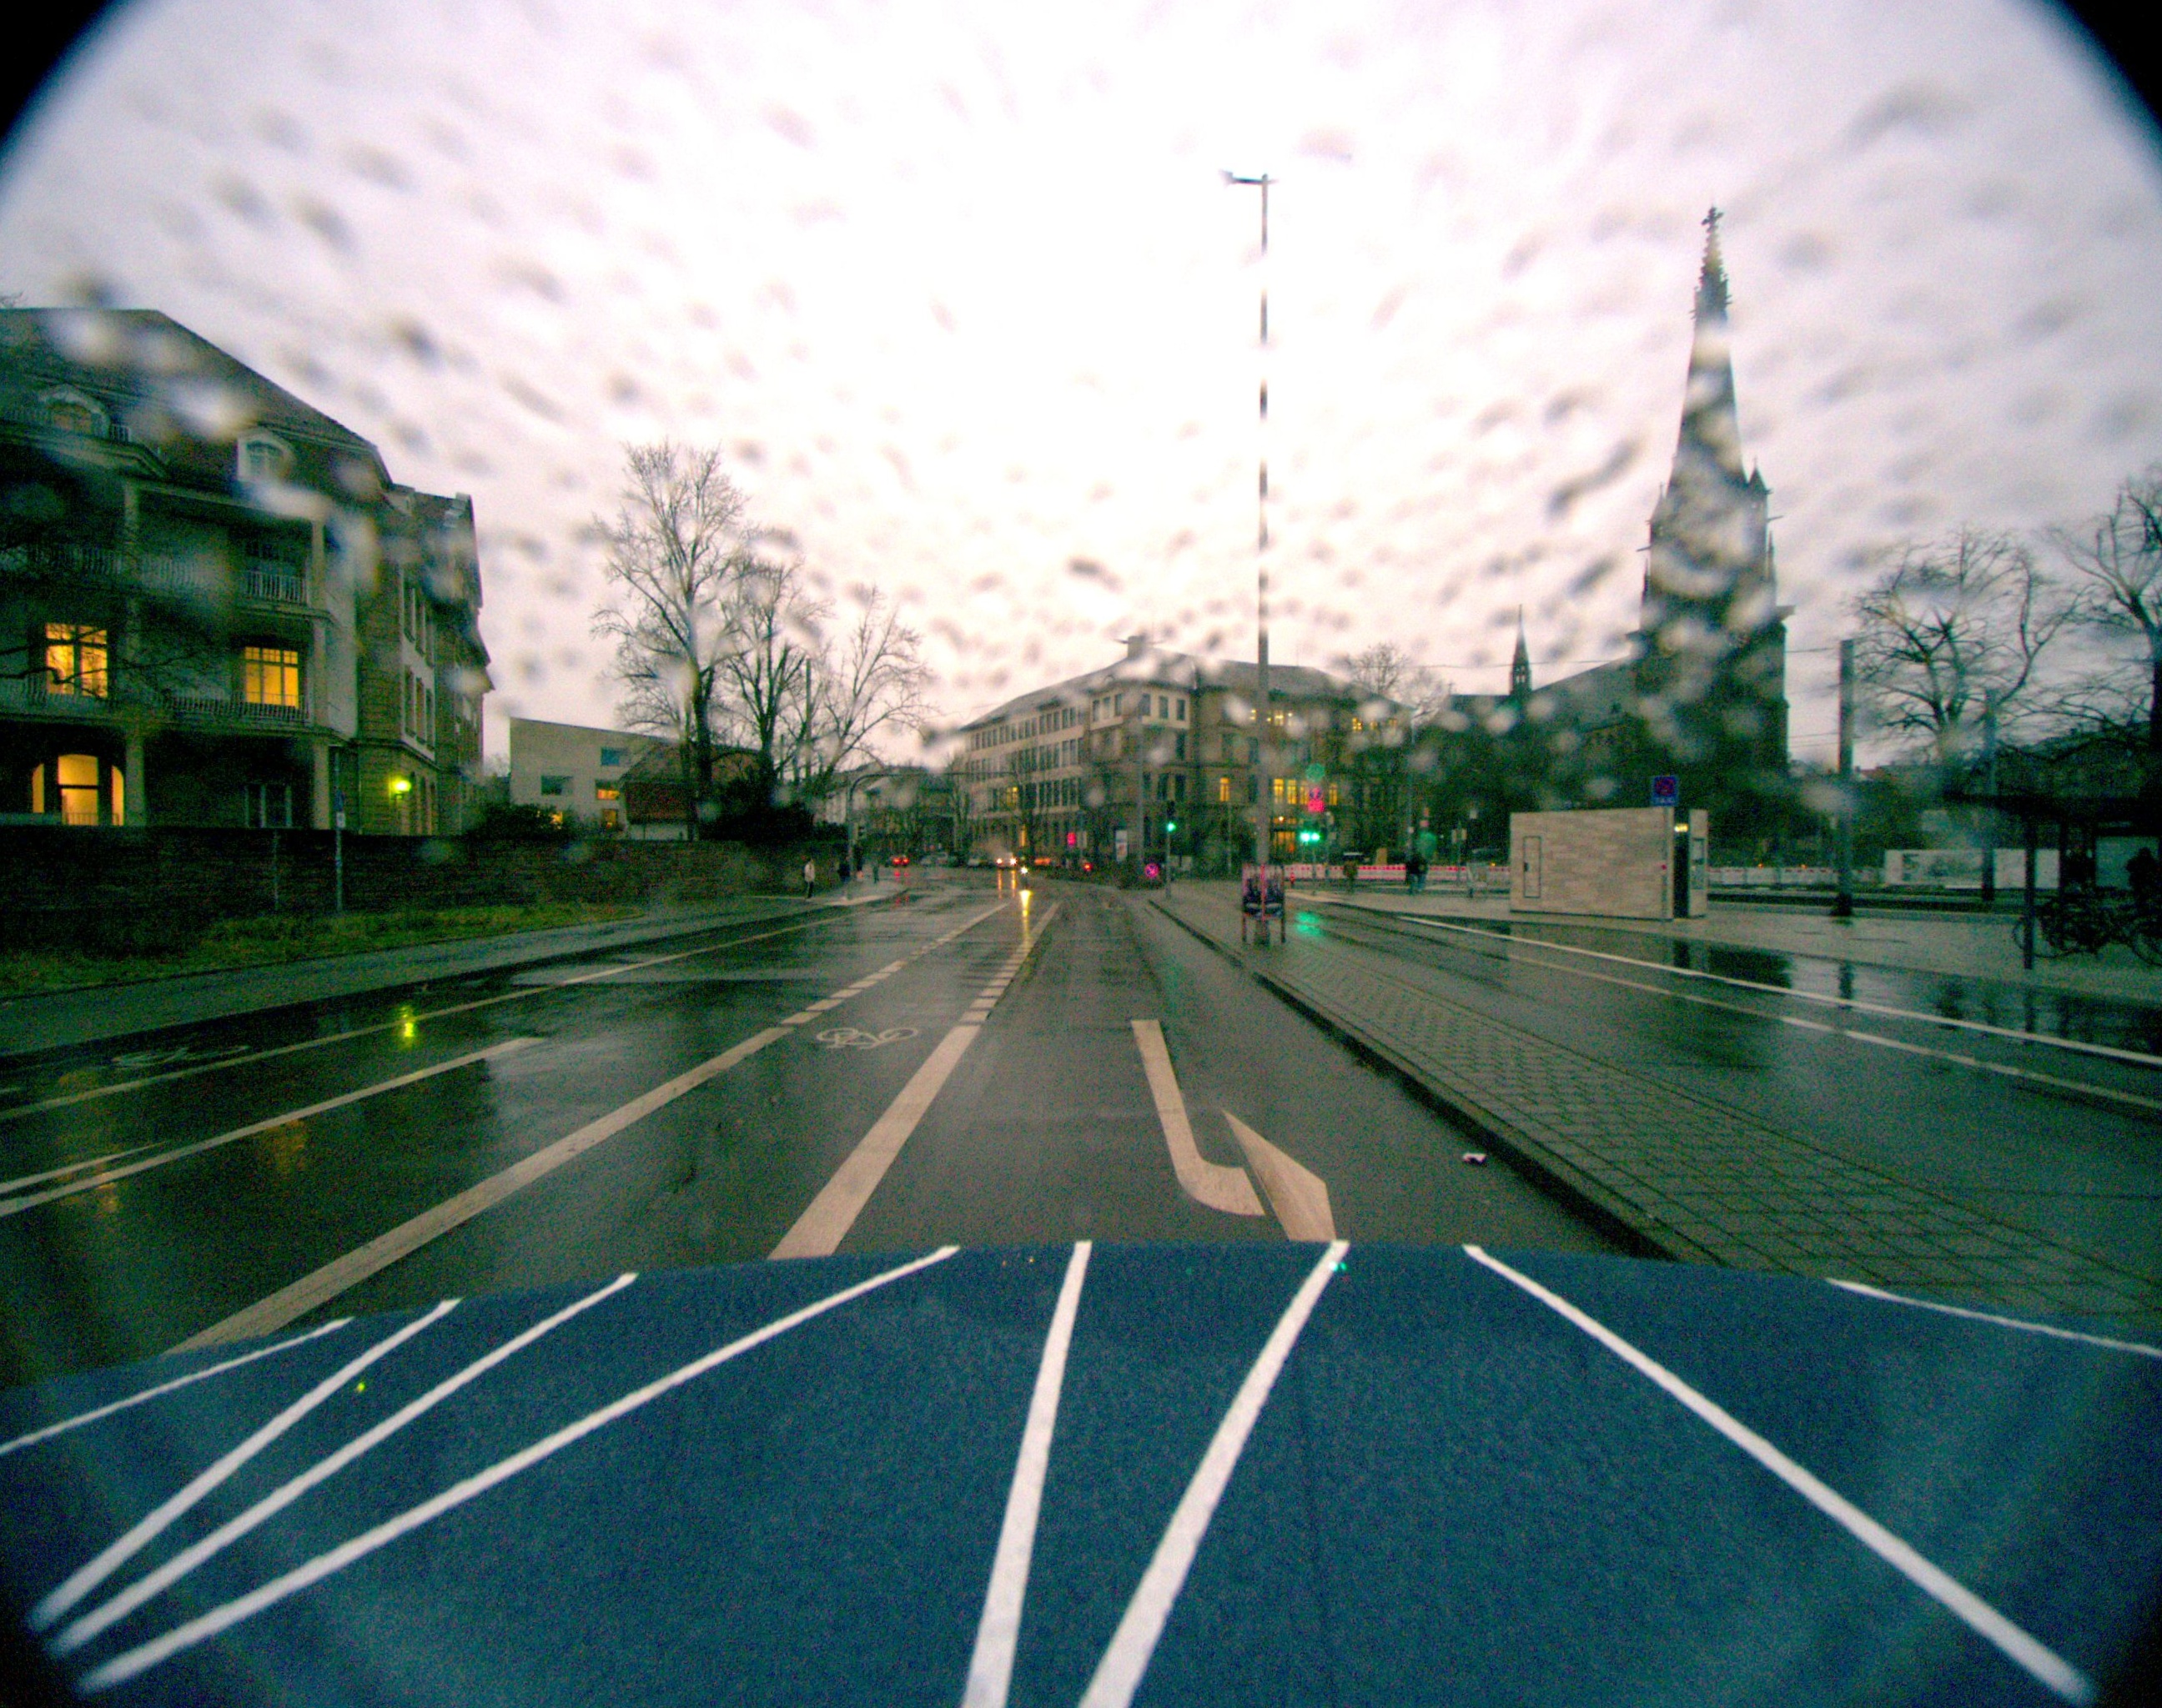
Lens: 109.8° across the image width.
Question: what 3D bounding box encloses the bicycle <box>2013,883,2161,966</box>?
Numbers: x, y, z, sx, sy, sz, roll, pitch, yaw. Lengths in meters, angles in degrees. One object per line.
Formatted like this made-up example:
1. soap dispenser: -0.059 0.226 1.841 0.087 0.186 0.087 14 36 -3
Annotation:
1. bicycle: 16.556 1.115 12.218 0.551 1.158 1.894 -3 3 -29

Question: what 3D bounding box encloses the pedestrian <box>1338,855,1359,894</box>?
1. pedestrian: 11.726 0.884 33.300 0.673 1.665 0.731 0 3 32

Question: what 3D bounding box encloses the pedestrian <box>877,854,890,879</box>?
1. pedestrian: -13.151 0.815 50.501 0.808 1.675 1.155 1 0 -16

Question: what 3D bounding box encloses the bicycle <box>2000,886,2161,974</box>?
1. bicycle: 15.558 1.138 11.555 0.551 1.158 1.938 -3 3 -29

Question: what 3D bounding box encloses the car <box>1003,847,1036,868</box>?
1. car: -6.849 0.376 85.028 1.908 2.022 4.809 -1 2 19

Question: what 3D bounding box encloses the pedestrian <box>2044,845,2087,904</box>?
1. pedestrian: 30.068 0.594 23.201 0.715 1.747 0.715 -2 2 -34

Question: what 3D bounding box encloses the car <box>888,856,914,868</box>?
1. car: -22.533 0.948 95.067 1.756 1.370 4.354 1 0 -34

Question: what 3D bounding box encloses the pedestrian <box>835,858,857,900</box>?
1. pedestrian: -9.576 1.007 31.001 0.792 1.666 0.729 1 1 -12

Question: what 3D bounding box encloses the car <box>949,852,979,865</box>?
1. car: -15.225 0.566 99.141 1.819 1.531 3.983 0 2 29

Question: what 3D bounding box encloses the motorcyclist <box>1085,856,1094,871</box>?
1. motorcyclist: 0.728 0.755 62.445 0.538 1.187 0.610 -3 3 -20

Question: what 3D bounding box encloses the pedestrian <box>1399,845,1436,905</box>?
1. pedestrian: 13.710 0.835 30.990 0.996 2.357 1.063 -2 3 -4

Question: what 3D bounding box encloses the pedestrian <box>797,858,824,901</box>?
1. pedestrian: -10.586 0.994 29.724 0.963 1.666 0.778 1 1 -21

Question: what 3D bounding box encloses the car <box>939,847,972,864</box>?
1. car: -16.747 0.150 101.606 1.961 2.042 4.629 0 2 29

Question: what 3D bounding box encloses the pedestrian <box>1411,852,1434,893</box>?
1. pedestrian: 15.600 0.829 34.709 0.604 1.803 0.826 -4 1 6

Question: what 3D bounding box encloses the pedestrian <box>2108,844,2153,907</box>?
1. pedestrian: 30.710 0.611 22.234 0.715 1.796 0.715 -2 2 -34

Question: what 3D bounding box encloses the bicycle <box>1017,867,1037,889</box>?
1. bicycle: -2.881 1.268 40.685 0.724 1.084 2.283 -2 0 -12

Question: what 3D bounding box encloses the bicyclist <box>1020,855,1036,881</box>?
1. bicyclist: -2.843 0.734 40.640 0.717 1.335 0.718 -2 3 -11

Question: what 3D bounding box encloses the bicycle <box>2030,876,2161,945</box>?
1. bicycle: 19.722 1.063 14.526 0.551 1.158 1.894 -3 3 -29

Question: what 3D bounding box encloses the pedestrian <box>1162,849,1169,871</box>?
1. pedestrian: 7.876 0.532 71.151 0.571 2.003 0.587 -1 3 5

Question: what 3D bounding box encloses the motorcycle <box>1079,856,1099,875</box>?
1. motorcycle: 0.665 0.950 62.559 0.832 1.488 2.310 0 1 -22

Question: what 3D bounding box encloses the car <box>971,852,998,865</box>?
1. car: -12.099 0.591 95.255 1.633 1.449 3.831 -1 2 23

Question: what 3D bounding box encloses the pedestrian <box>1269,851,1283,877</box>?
1. pedestrian: 15.500 0.771 60.383 0.646 2.003 0.740 -4 3 -39

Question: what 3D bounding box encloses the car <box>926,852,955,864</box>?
1. car: -19.725 0.549 106.736 1.771 1.582 4.191 0 2 27
